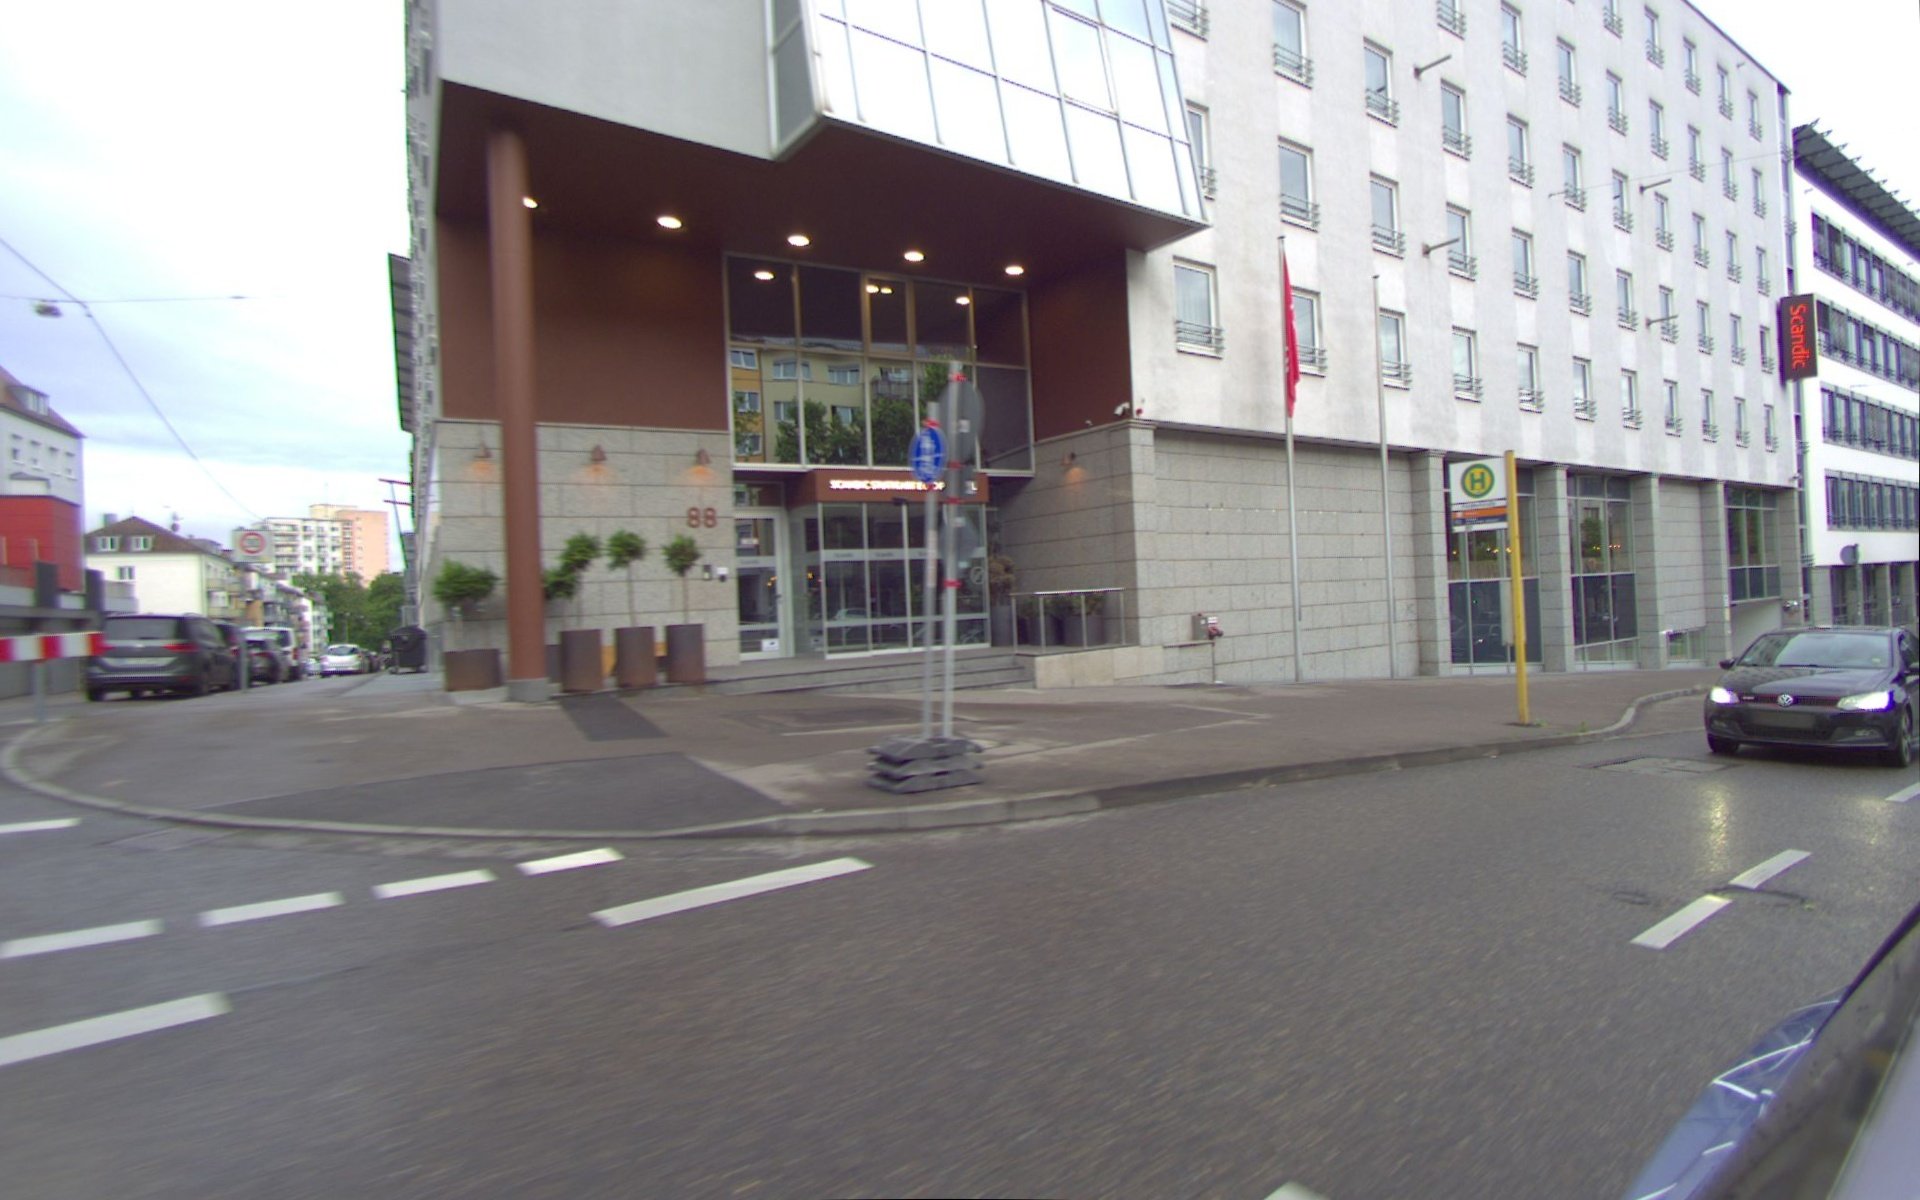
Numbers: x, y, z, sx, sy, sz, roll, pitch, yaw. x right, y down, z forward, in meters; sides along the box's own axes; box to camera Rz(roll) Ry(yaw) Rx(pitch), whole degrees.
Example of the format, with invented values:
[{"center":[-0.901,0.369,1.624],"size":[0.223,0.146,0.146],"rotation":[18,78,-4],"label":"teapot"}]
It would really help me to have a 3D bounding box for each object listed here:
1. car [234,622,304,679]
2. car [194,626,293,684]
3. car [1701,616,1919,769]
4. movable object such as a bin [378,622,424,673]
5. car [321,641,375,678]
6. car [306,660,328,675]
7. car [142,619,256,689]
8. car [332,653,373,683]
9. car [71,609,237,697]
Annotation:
[{"center":[-23.610,1.742,34.617],"size":[1.822,1.815,4.613],"rotation":[1,-4,-34],"label":"car"},{"center":[-20.542,1.575,29.167],"size":[1.763,1.530,4.003],"rotation":[1,-3,-27],"label":"car"},{"center":[9.951,0.905,11.401],"size":[3.779,1.417,1.677],"rotation":[1,-1,-39],"label":"car"},{"center":[-16.752,1.429,30.341],"size":[1.160,1.452,1.185],"rotation":[-1,-3,-29],"label":"movable object such as a bin"},{"center":[-27.405,2.687,45.430],"size":[1.764,1.530,4.503],"rotation":[-1,-3,-28],"label":"car"},{"center":[-70.814,7.478,111.496],"size":[1.764,1.530,4.502],"rotation":[-1,-3,-30],"label":"car"},{"center":[-18.164,1.290,24.321],"size":[1.764,1.530,4.001],"rotation":[1,-3,-31],"label":"car"},{"center":[-33.781,3.757,56.308],"size":[1.764,1.530,4.002],"rotation":[-1,-3,-29],"label":"car"},{"center":[-15.617,1.034,19.833],"size":[1.763,1.530,4.003],"rotation":[1,-3,-27],"label":"car"}]
